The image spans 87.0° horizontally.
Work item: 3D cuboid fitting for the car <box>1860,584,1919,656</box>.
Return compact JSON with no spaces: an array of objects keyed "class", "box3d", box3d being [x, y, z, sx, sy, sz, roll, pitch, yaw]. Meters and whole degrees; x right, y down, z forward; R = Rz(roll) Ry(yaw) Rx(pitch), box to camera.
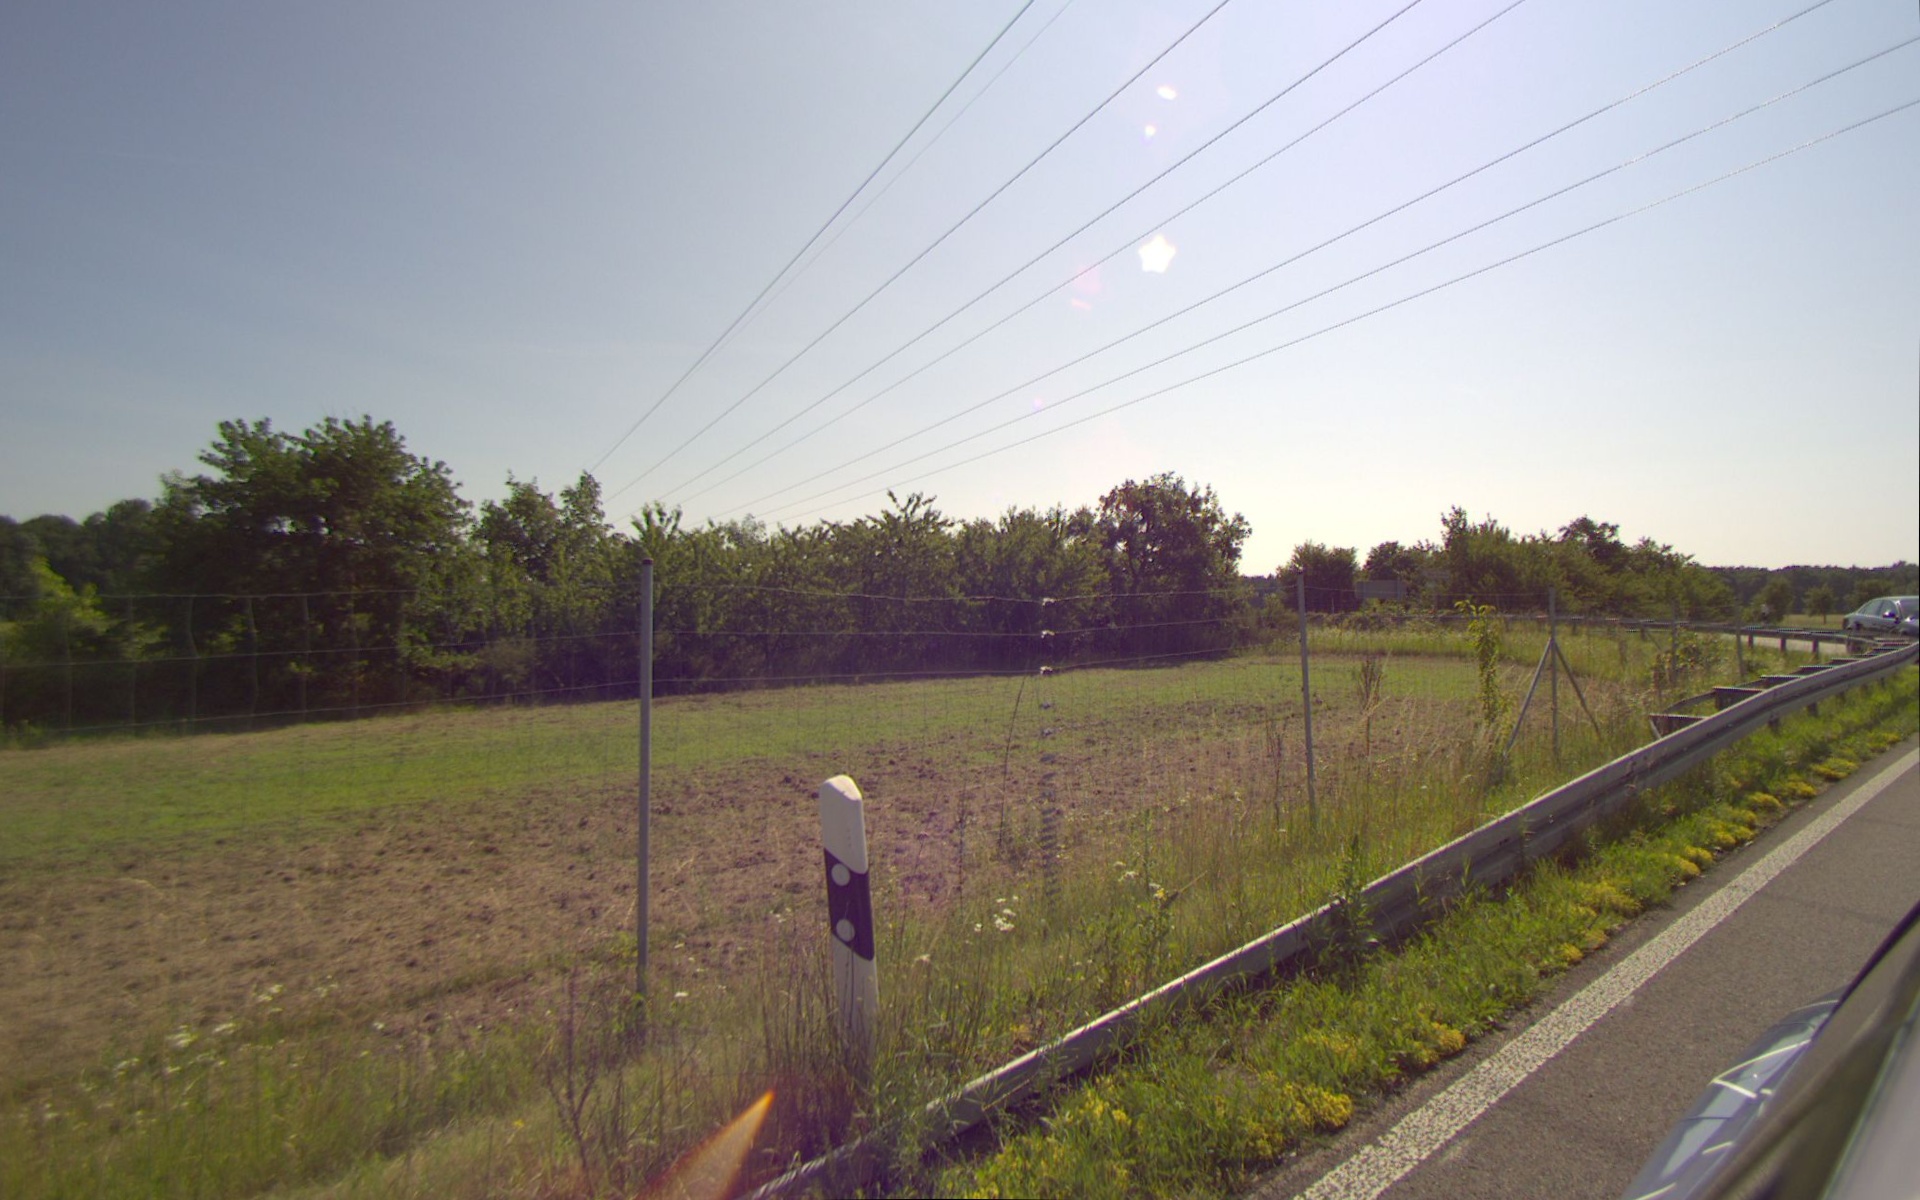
[{"class":"car","box3d":[21.798,0.401,22.365,1.870,1.475,4.036,-2,0,28]}]
